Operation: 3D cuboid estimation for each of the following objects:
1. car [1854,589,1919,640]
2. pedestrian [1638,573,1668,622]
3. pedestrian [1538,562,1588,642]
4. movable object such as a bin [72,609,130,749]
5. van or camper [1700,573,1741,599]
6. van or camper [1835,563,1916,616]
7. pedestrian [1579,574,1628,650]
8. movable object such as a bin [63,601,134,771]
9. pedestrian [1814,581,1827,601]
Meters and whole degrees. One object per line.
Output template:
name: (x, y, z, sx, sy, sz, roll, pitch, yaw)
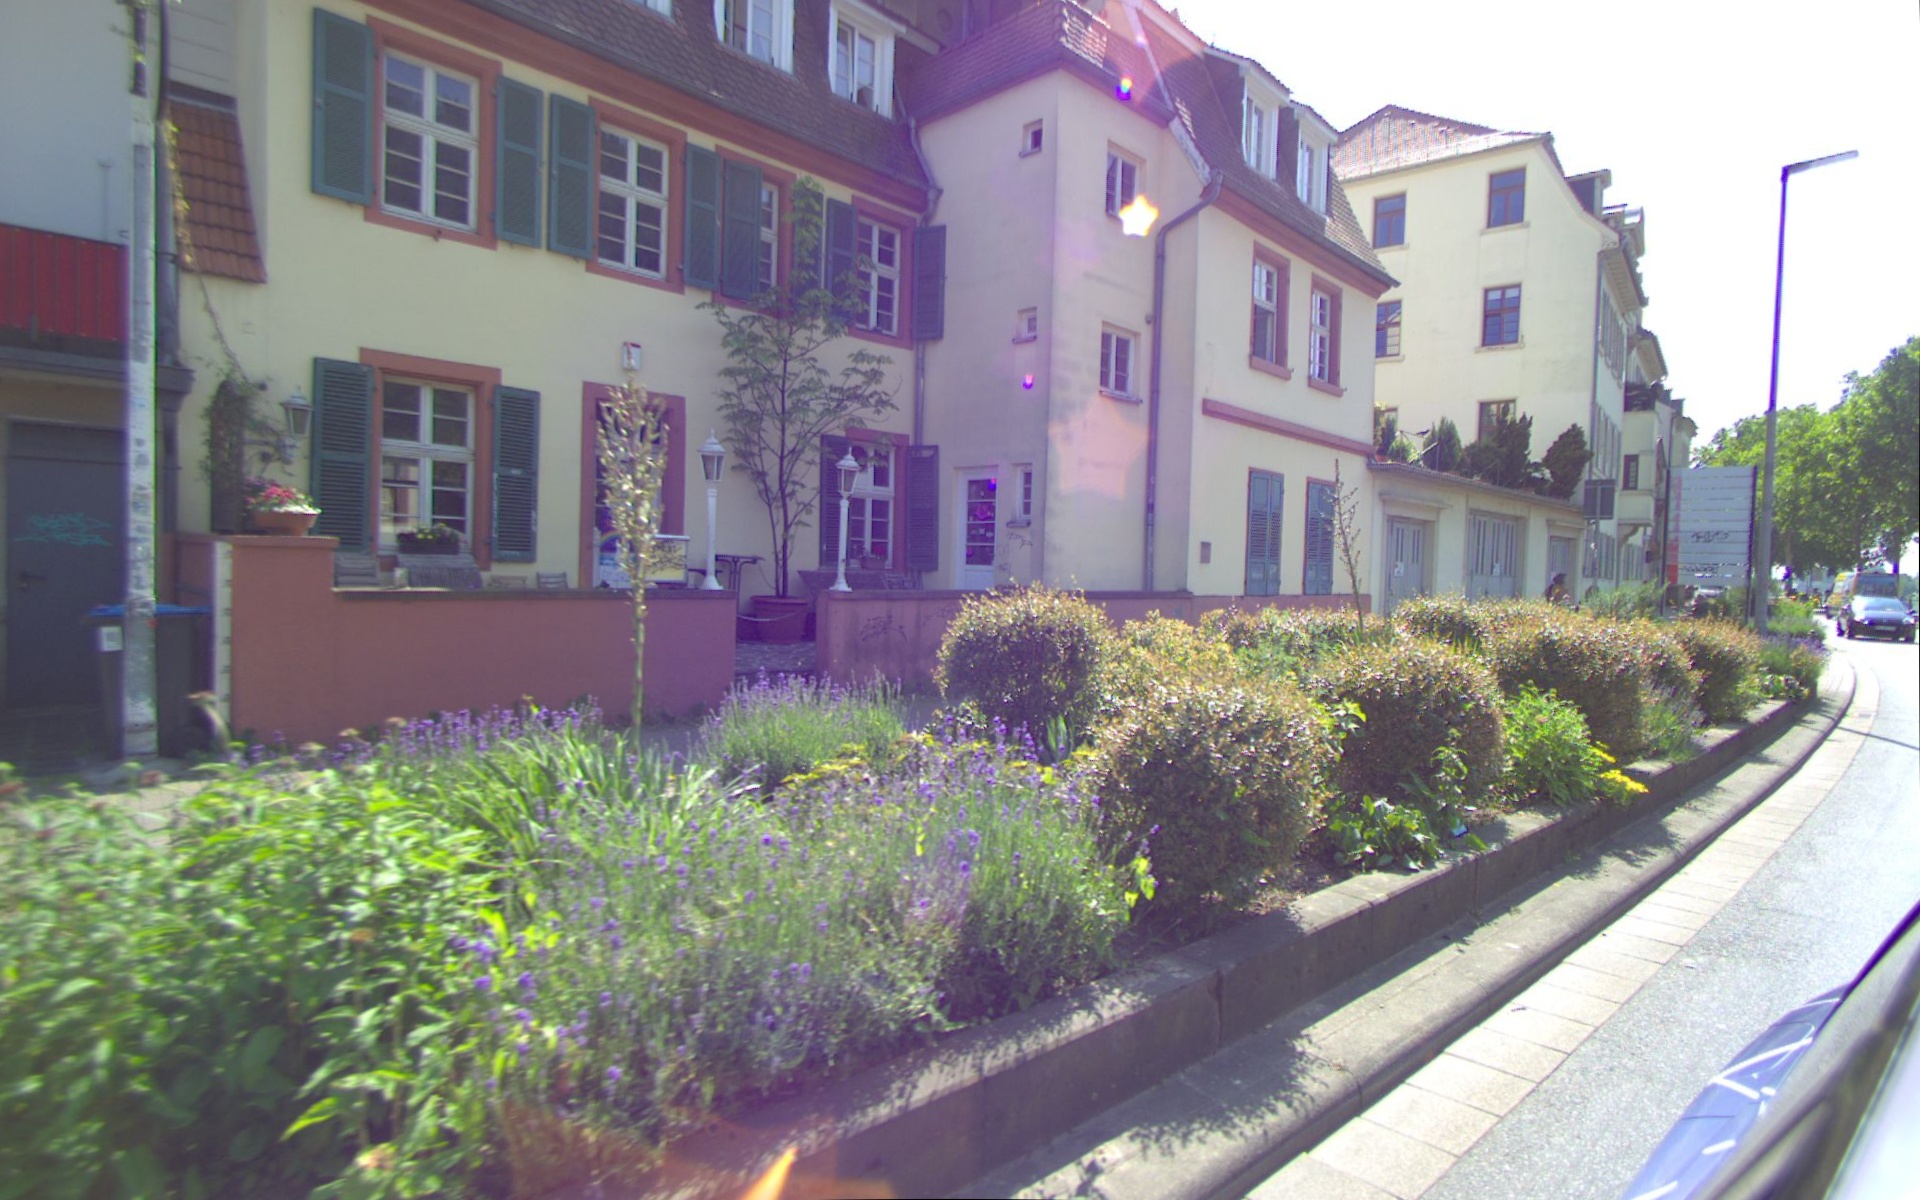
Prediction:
car: (28.997, 0.414, 31.311, 1.869, 1.441, 4.675, 2, 2, 40)
pedestrian: (25.898, -0.105, 37.828, 0.760, 1.733, 0.687, 7, 5, 36)
pedestrian: (13.518, 0.021, 22.697, 0.737, 1.719, 0.920, 4, 3, 41)
movable object such as a bin: (-6.279, 0.558, 7.408, 0.314, 0.955, 0.496, 0, 3, -40)
van or camper: (71.713, -1.361, 95.507, 2.421, 2.312, 6.134, 3, 3, 32)
van or camper: (48.064, -0.611, 53.280, 2.080, 2.588, 7.007, 2, 3, 34)
pedestrian: (14.087, 0.249, 22.166, 0.761, 1.615, 0.685, 3, 2, 41)
movable object such as a bin: (-5.918, 0.563, 6.963, 0.358, 1.080, 0.642, 0, 3, -40)
pedestrian: (77.050, -0.797, 90.615, 0.708, 1.785, 0.961, 3, 2, 32)
